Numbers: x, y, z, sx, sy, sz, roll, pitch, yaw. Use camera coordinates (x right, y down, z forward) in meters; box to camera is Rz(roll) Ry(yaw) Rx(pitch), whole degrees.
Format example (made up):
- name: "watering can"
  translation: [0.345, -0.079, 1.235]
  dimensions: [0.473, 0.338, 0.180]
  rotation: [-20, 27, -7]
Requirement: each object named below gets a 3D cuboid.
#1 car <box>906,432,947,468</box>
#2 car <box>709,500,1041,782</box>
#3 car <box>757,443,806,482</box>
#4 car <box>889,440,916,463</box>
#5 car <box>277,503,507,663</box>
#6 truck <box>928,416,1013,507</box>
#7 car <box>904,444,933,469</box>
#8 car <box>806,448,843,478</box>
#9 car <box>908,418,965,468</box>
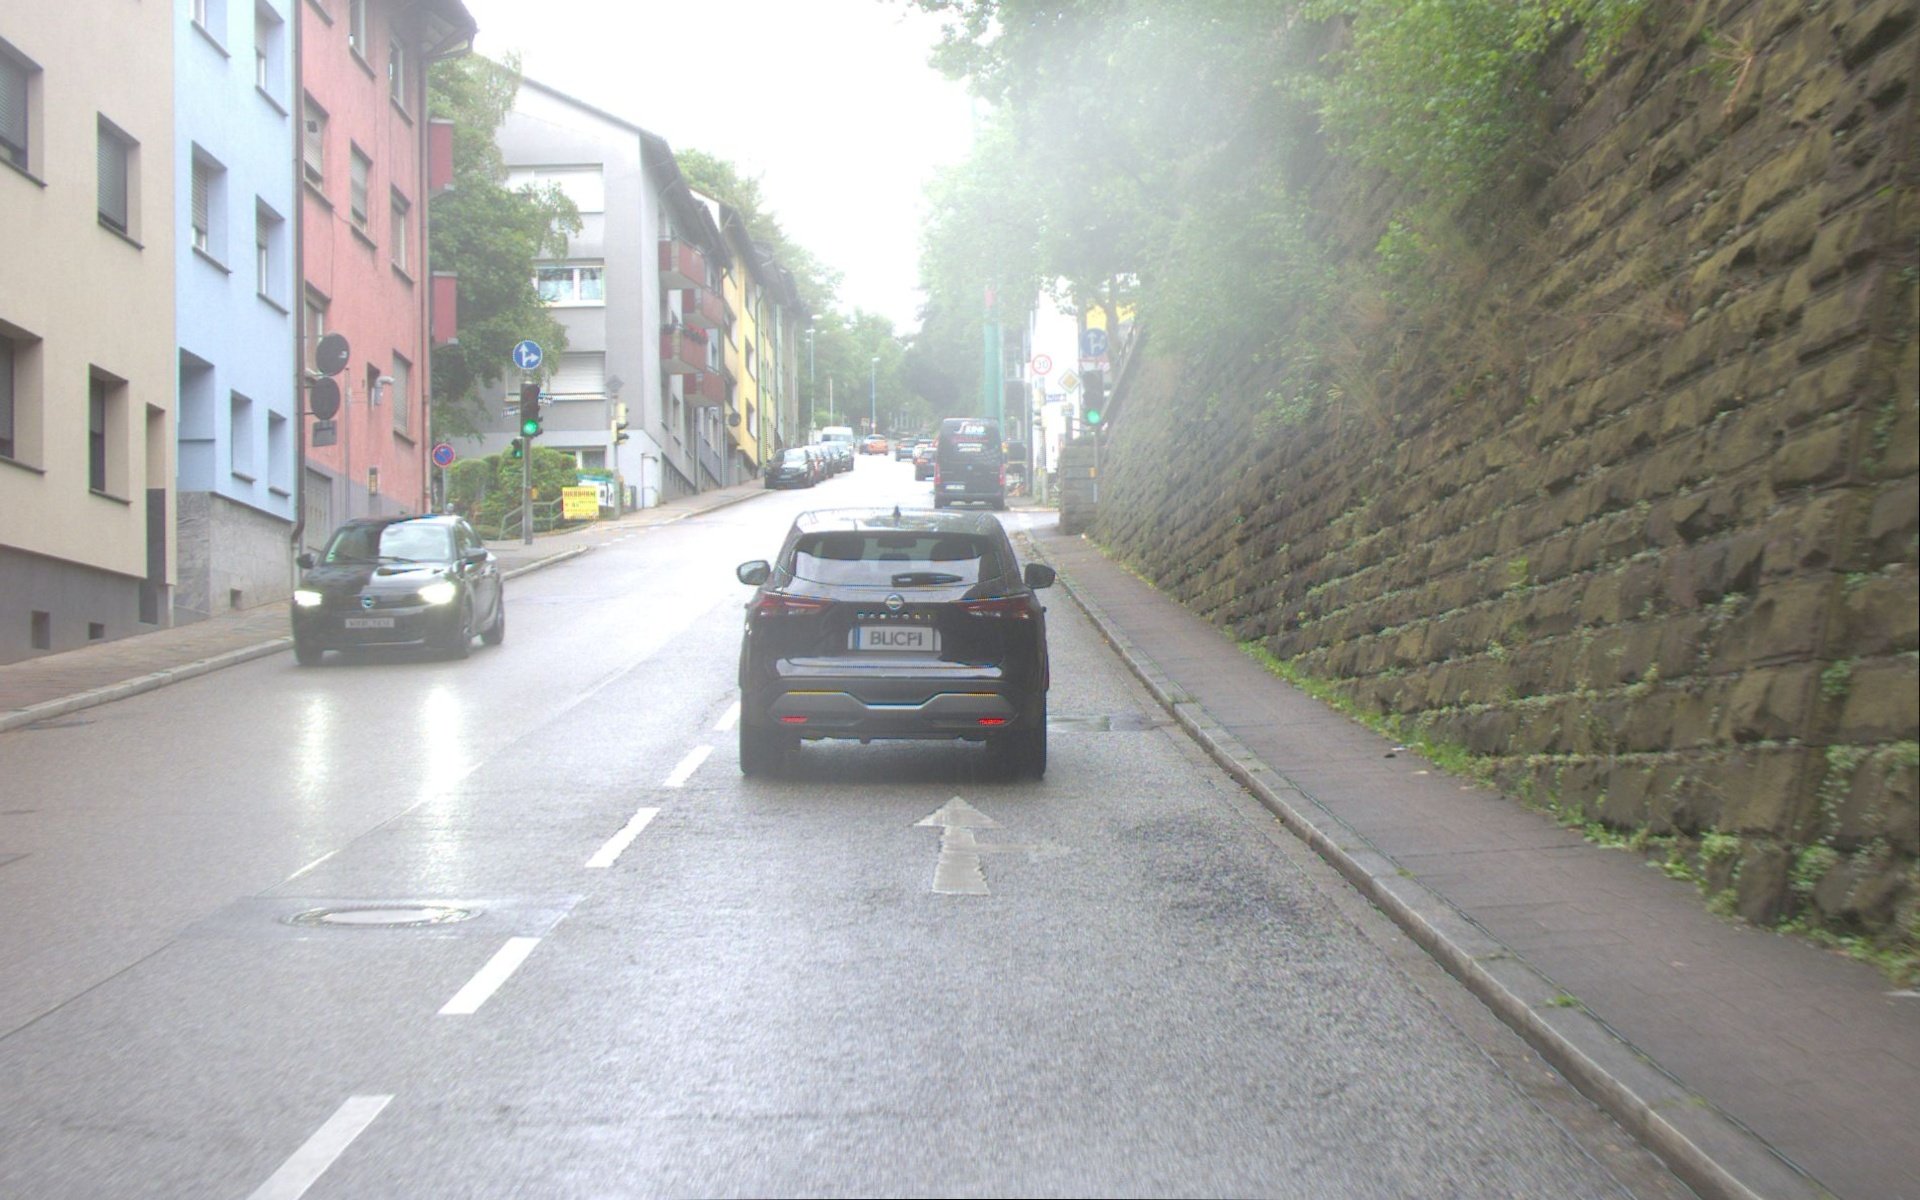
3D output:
- name: "car"
  translation: [-1.496, -6.754, 155.262]
  dimensions: [1.794, 1.505, 4.000]
  rotation: [-1, 1, 0]
- name: "car"
  translation: [-0.577, 0.204, 21.603]
  dimensions: [1.881, 1.588, 3.922]
  rotation: [-1, 1, -3]
- name: "car"
  translation: [-7.373, -5.687, 142.277]
  dimensions: [1.794, 1.505, 4.000]
  rotation: [-1, 1, 0]
- name: "car"
  translation: [-4.107, -10.592, 245.719]
  dimensions: [1.794, 1.505, 4.000]
  rotation: [-1, 1, 0]
- name: "car"
  translation: [-5.716, -0.217, 34.994]
  dimensions: [1.714, 1.443, 3.922]
  rotation: [-2, 2, -1]
- name: "truck"
  translation: [0.286, -3.906, 97.577]
  dimensions: [2.289, 2.431, 4.453]
  rotation: [-1, 1, 0]
- name: "car"
  translation: [-2.637, -9.135, 218.818]
  dimensions: [1.794, 1.505, 4.000]
  rotation: [-1, 1, 0]
- name: "car"
  translation: [-7.320, -7.402, 185.956]
  dimensions: [1.794, 1.505, 4.000]
  rotation: [-1, 1, 0]
- name: "car"
  translation: [-0.765, -5.118, 112.359]
  dimensions: [1.794, 1.505, 4.500]
  rotation: [-1, 1, 0]
